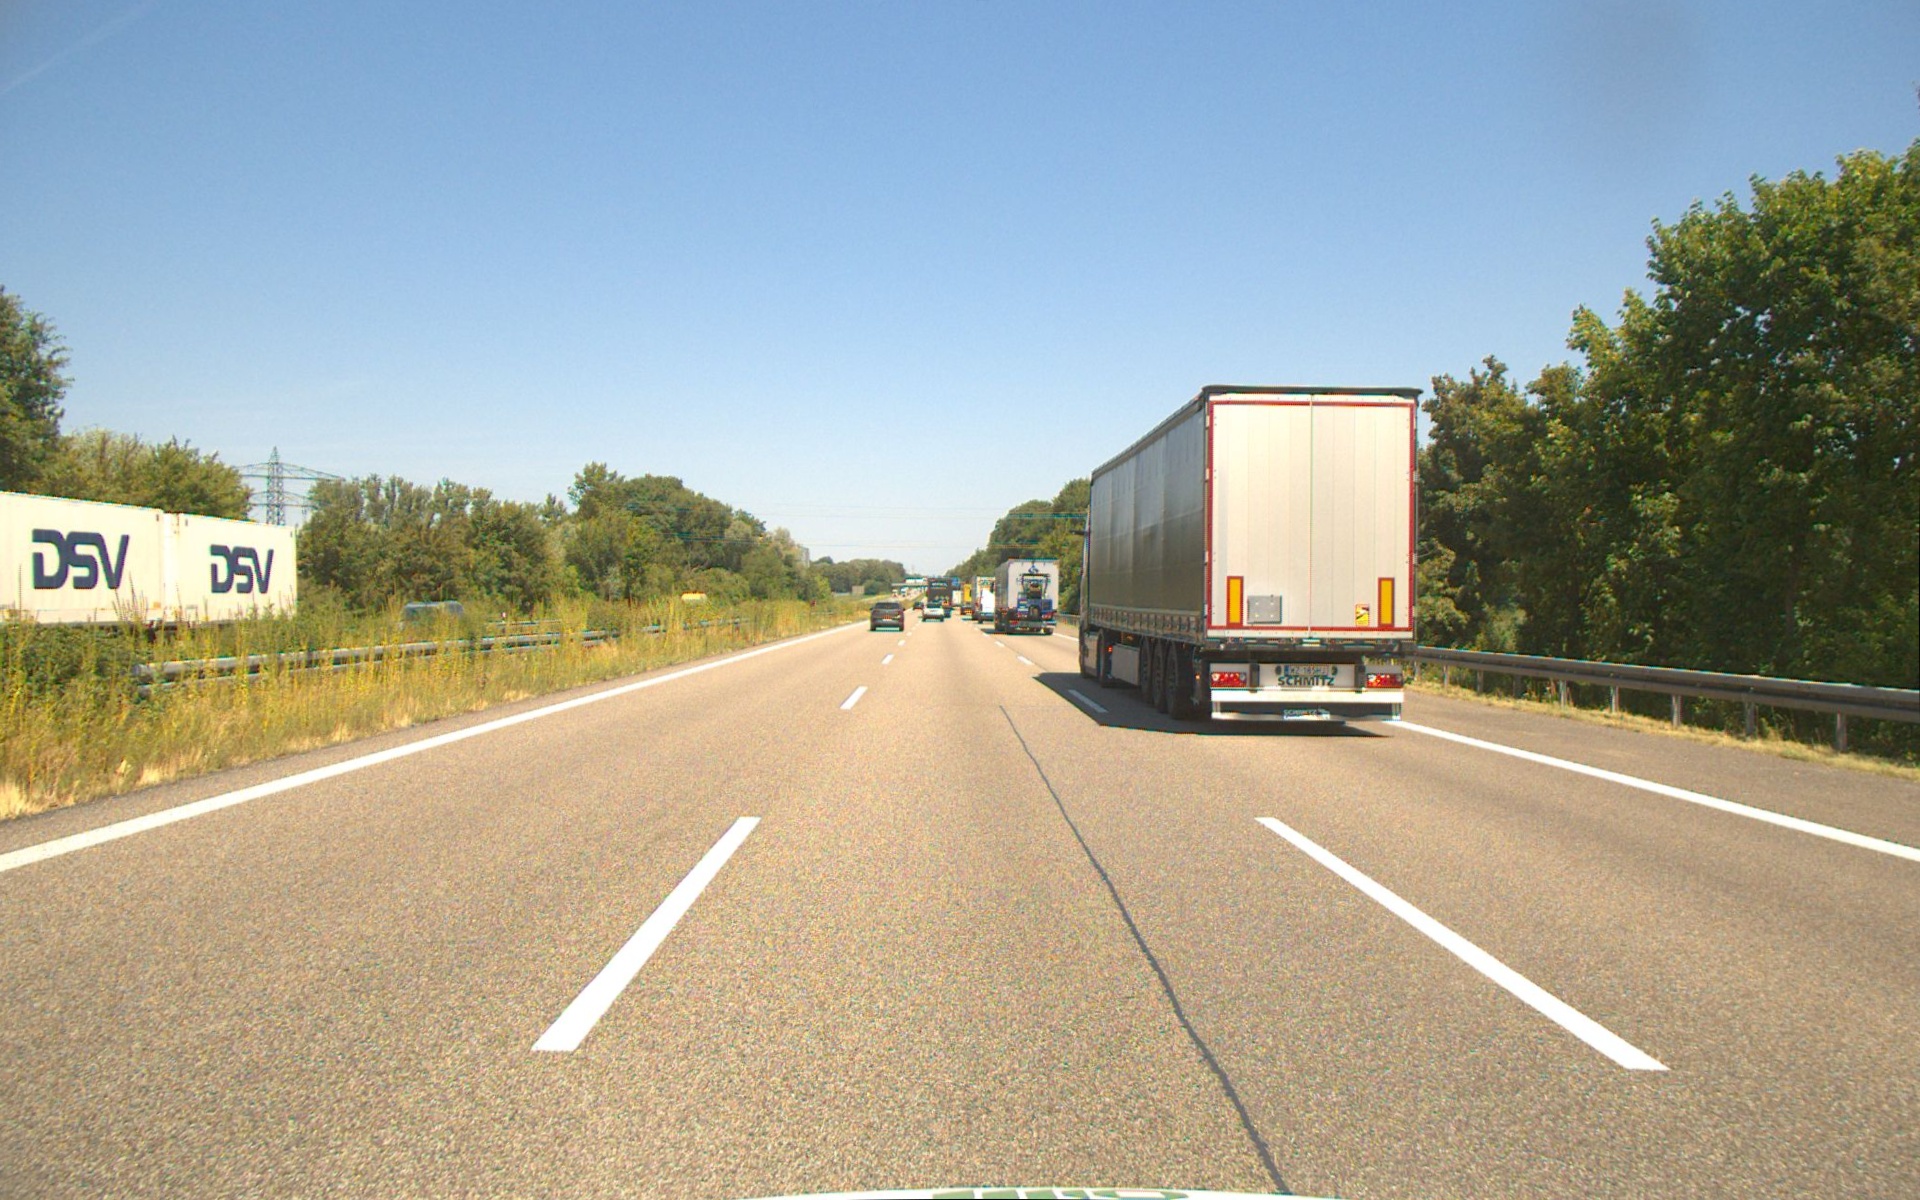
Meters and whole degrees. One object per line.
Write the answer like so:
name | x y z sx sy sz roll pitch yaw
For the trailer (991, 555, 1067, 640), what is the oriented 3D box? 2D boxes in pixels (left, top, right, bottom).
trailer | 3.403 -0.212 84.227 3.059 3.995 9.934 1 1 -2

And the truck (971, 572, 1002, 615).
truck | 2.386 -0.653 151.692 2.735 3.790 7.109 1 1 0

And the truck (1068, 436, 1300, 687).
truck | 4.093 -0.634 31.977 3.394 4.250 6.842 1 -1 -1

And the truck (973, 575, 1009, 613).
truck | 3.170 -0.671 172.669 3.592 3.790 7.109 1 1 0

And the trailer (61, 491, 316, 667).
trailer | -21.219 -0.605 46.244 2.985 4.401 9.031 1 1 -1

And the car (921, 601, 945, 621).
car | -2.245 0.889 138.010 1.862 1.557 4.083 1 1 -1

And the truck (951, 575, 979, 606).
truck | 0.673 -1.252 214.488 3.417 3.790 7.109 1 1 0

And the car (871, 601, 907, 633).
car | -3.755 0.882 87.984 1.723 1.557 4.285 1 1 -1

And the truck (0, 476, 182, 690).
truck | -21.127 -0.422 36.379 3.008 4.385 10.626 1 1 0

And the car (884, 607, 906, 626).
car | -5.893 1.478 149.932 1.862 1.557 4.083 1 1 -1

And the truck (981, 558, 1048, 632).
truck | 3.009 -0.346 94.184 2.996 3.946 10.029 1 1 -3

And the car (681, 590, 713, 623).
car | -22.381 0.513 140.749 2.060 2.601 6.182 -1 1 -3

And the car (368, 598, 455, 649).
car | -17.471 0.723 52.854 1.573 1.467 4.042 1 1 -3

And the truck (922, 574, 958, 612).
truck | -2.066 -0.771 172.337 3.592 3.790 7.109 1 1 0

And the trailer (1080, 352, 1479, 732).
trailer | 4.147 -0.673 25.685 3.365 4.254 13.630 1 0 -1

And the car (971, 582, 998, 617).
car | 1.877 -0.061 126.097 1.869 2.467 4.285 1 1 -1
